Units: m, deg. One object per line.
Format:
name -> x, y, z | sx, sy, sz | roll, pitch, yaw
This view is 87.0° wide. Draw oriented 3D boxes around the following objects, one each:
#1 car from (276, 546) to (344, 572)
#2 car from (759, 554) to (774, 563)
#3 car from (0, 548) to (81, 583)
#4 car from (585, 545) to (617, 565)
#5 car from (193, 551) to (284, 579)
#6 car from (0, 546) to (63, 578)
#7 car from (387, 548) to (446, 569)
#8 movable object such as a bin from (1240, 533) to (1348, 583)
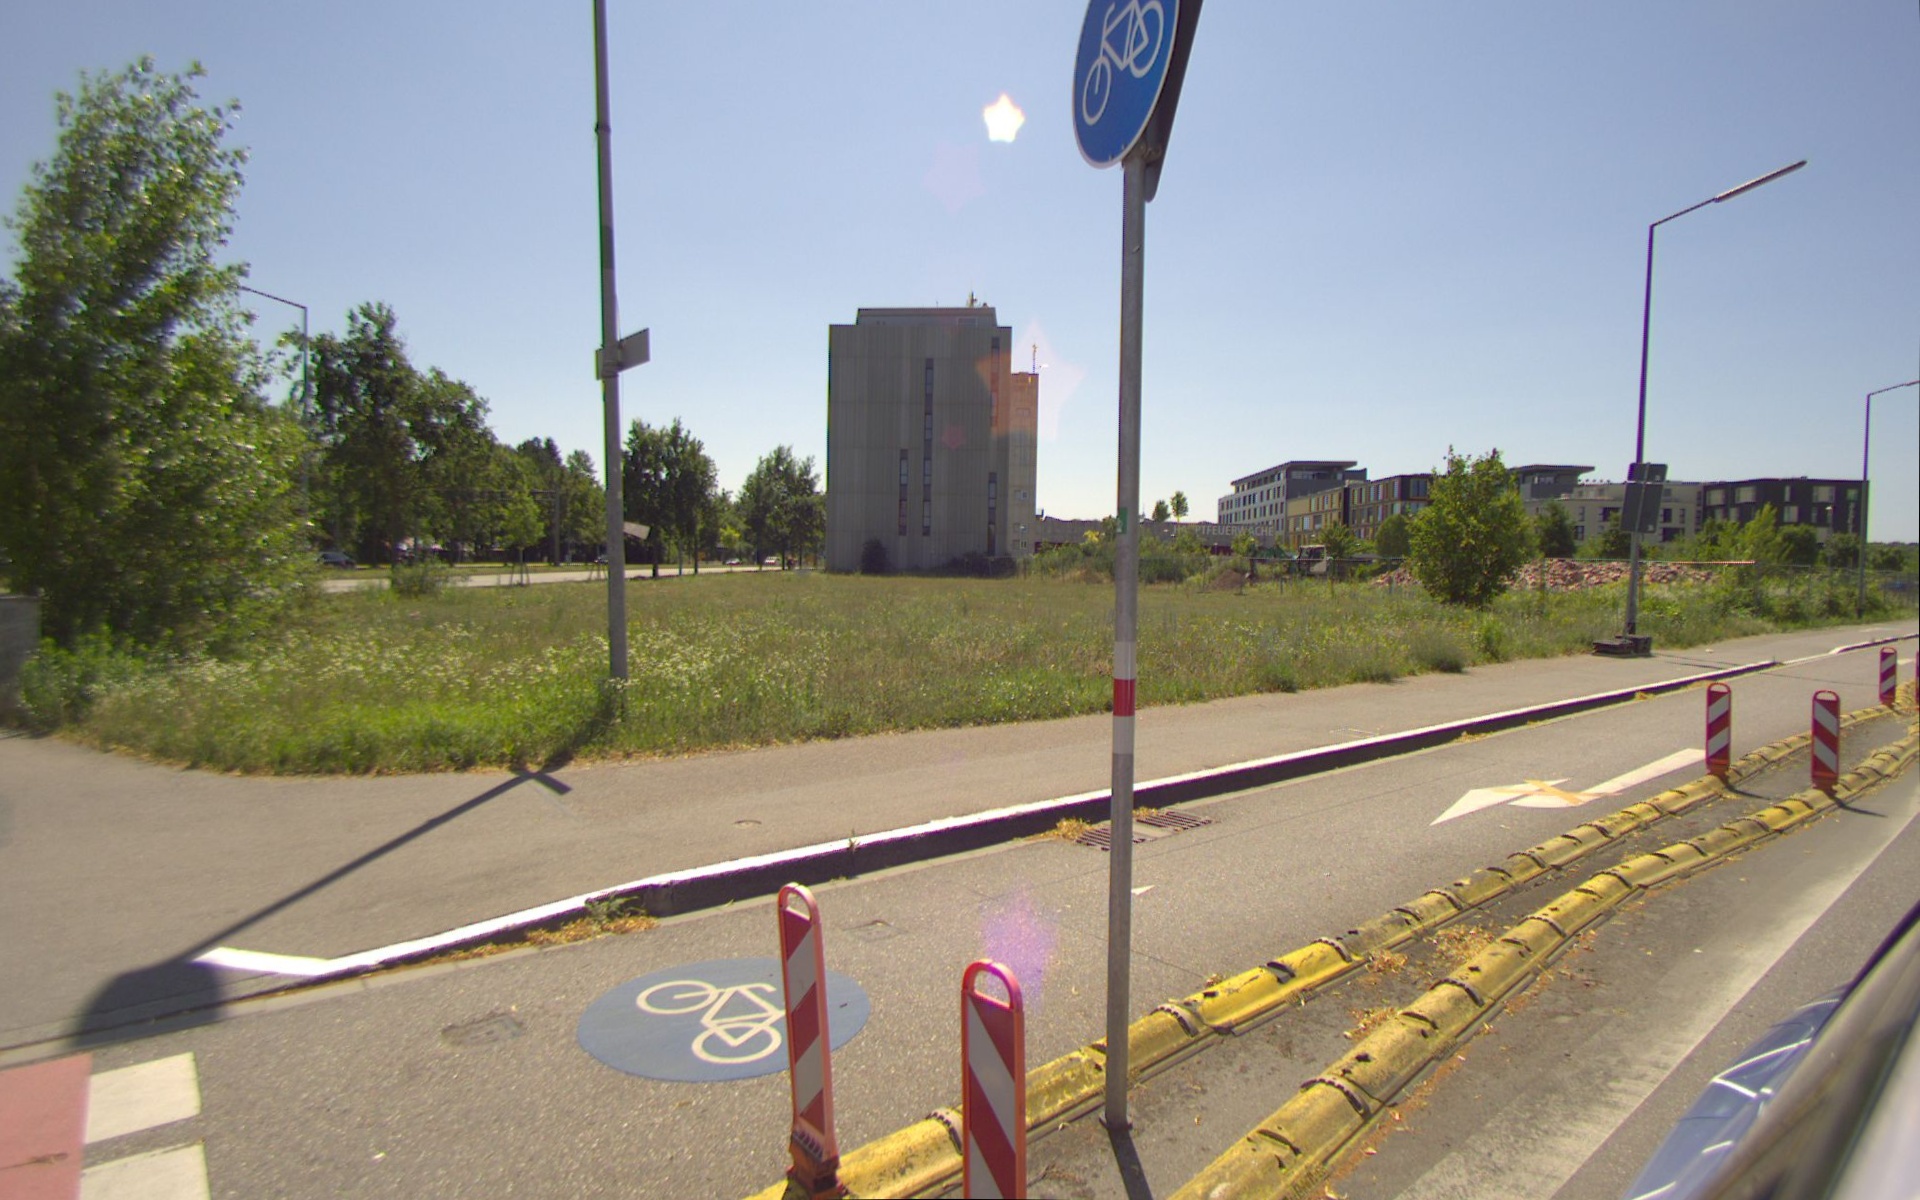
car -> -40.255, -2.524, 62.766 | 1.689, 1.493, 3.796 | 0, 1, 1
car -> -34.914, -7.504, 182.382 | 1.834, 1.574, 4.000 | 1, 2, 1
car -> -41.018, -1.515, 43.900 | 1.830, 1.440, 4.406 | 1, 2, 3
car -> -38.821, -4.820, 109.588 | 1.963, 2.039, 3.999 | 0, 1, 1
car -> -40.250, -1.965, 56.578 | 1.830, 1.440, 4.406 | 1, 2, 3
car -> -43.728, -1.751, 46.041 | 1.830, 1.440, 4.406 | 1, 2, 3
car -> -39.834, -3.004, 74.244 | 1.830, 1.440, 4.406 | 1, 2, 3
movable object such as a bin -> 22.522, -2.781, 68.088 | 7.457, 3.188, 2.816 | -1, 1, -32
